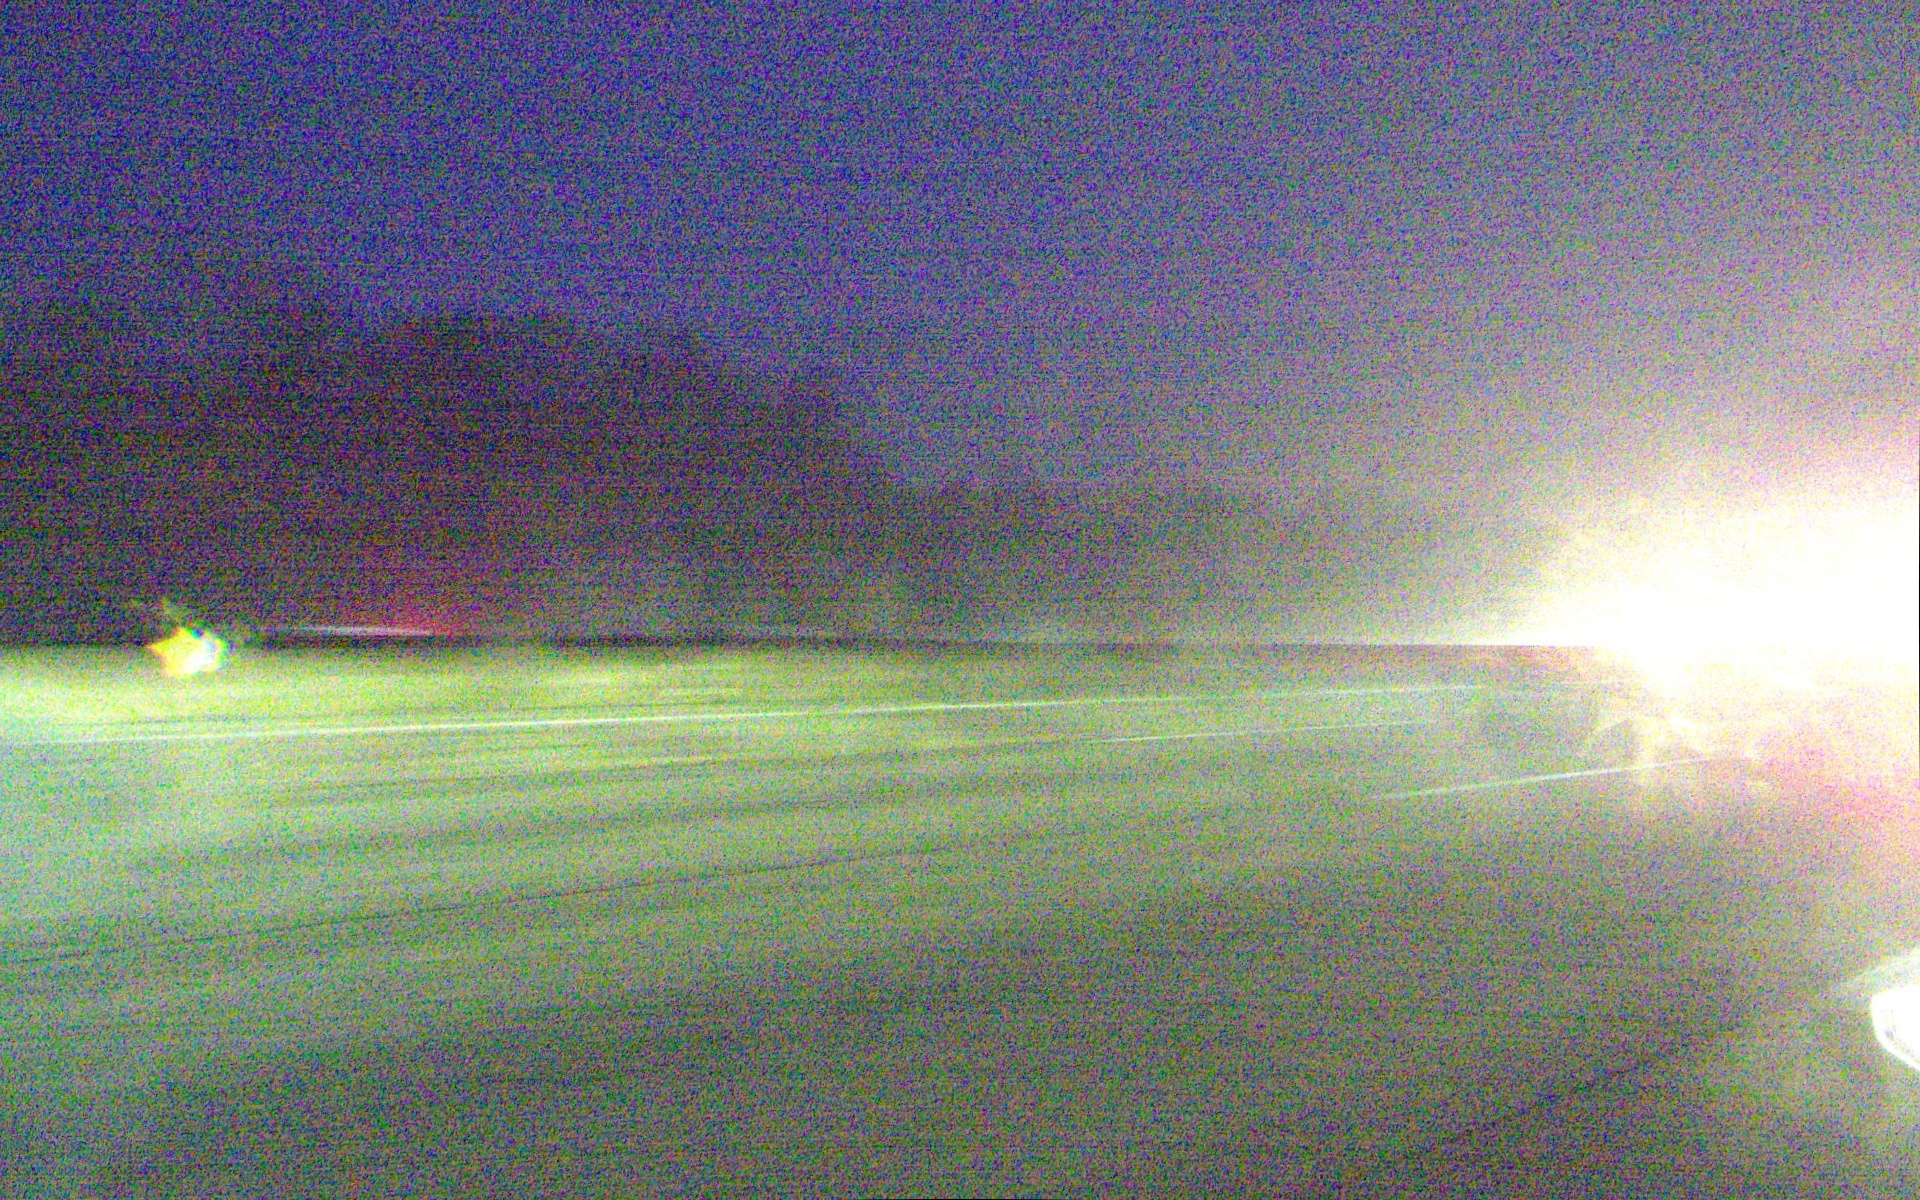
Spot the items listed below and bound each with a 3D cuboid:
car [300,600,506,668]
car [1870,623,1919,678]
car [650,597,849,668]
[{"bbox_3d":[-14.124,0.878,25.684,4.408,1.578,1.871,2,0,-30],"label":"car"},{"bbox_3d":[30.648,1.619,31.819,3.963,1.617,1.979,2,0,-37],"label":"car"},{"bbox_3d":[-5.139,0.823,24.698,4.411,1.578,1.870,2,0,-32],"label":"car"}]
